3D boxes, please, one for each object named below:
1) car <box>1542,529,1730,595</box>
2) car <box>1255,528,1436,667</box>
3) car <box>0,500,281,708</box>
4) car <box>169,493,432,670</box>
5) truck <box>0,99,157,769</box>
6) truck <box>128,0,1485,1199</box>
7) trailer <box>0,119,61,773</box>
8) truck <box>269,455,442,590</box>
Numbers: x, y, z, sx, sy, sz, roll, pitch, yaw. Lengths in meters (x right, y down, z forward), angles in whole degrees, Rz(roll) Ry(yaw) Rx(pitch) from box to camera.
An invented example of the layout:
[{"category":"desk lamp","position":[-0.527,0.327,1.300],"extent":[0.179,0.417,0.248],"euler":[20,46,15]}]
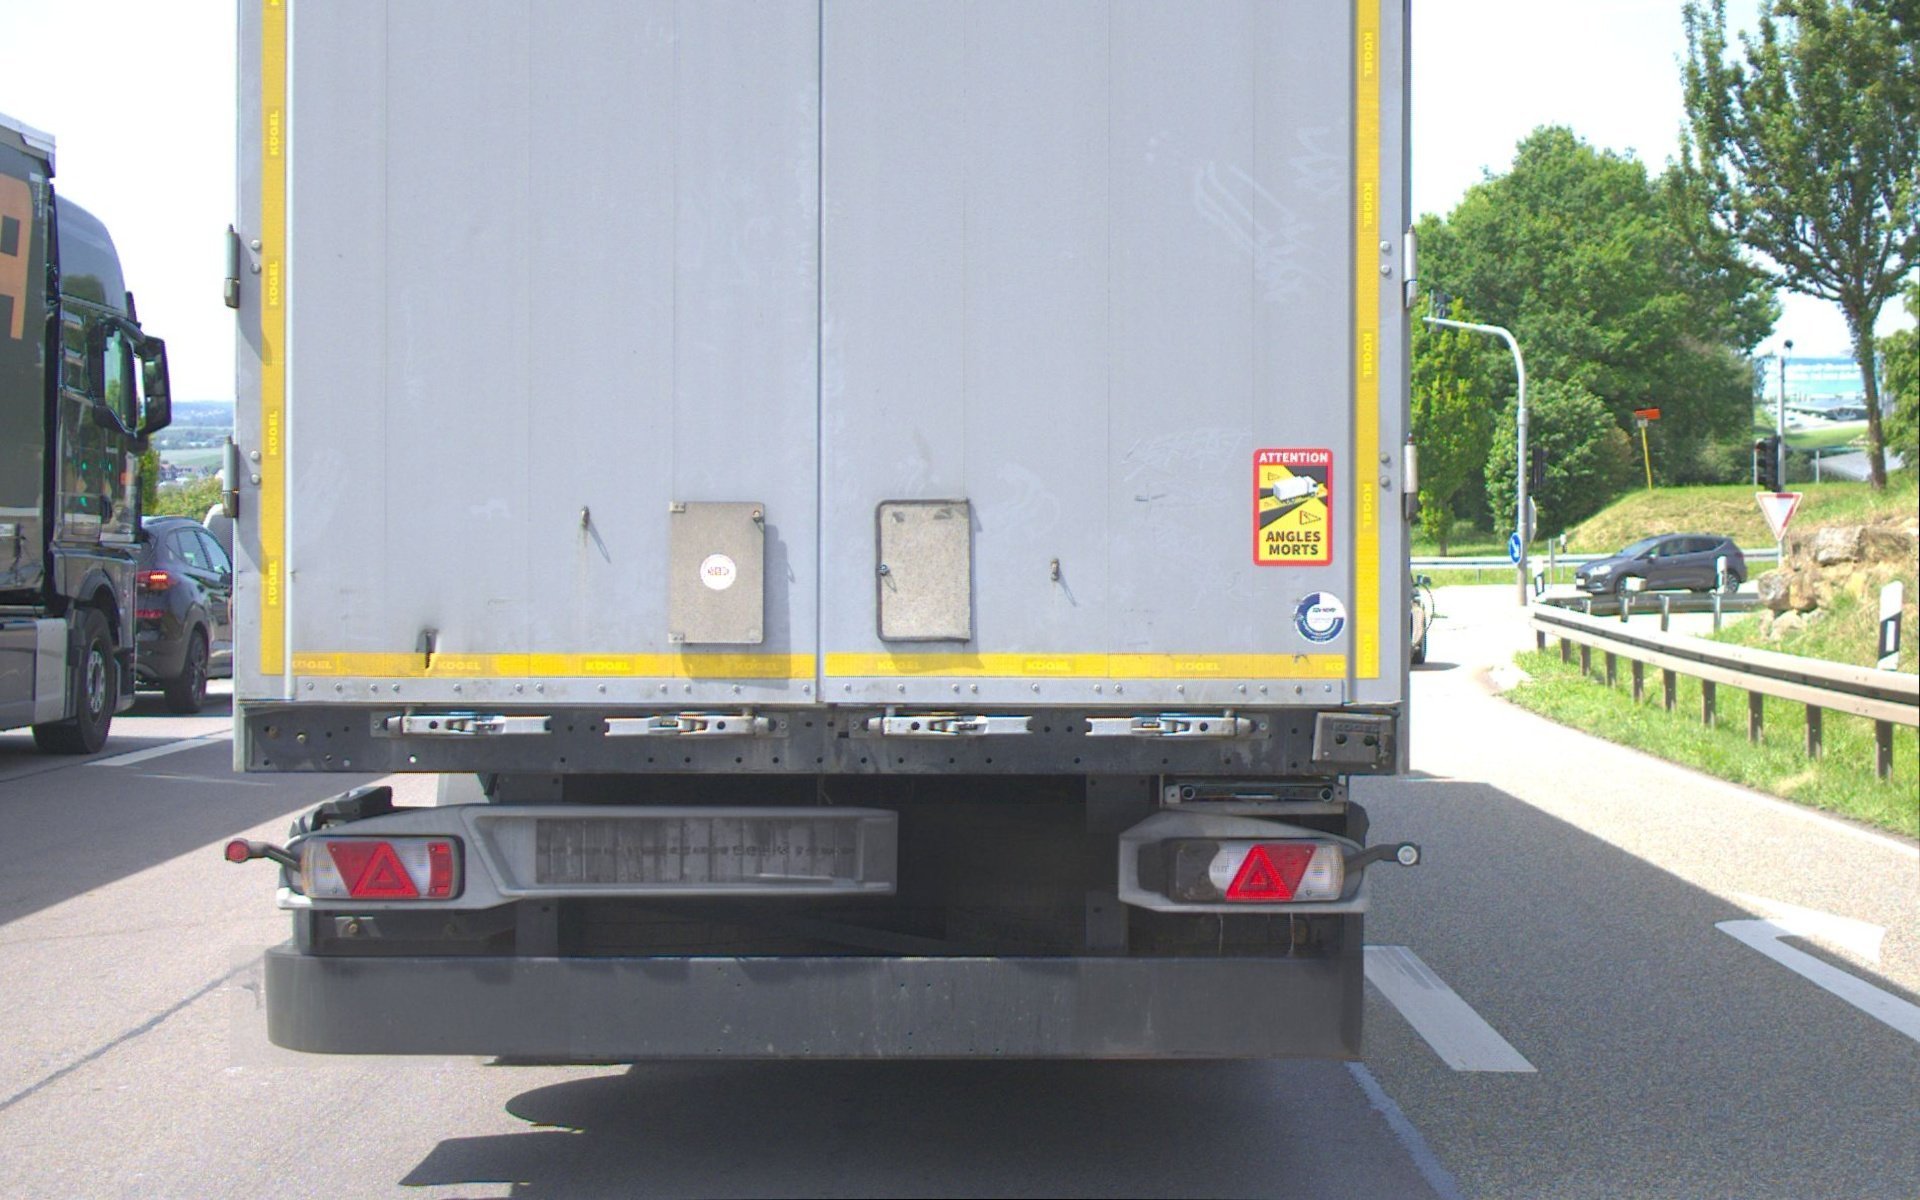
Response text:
[{"category":"car","position":[15.812,-0.897,80.471],"extent":[3.986,1.505,1.717],"euler":[0,1,-7]},{"category":"car","position":[4.852,-0.045,42.881],"extent":[1.797,1.634,3.998],"euler":[1,1,13]},{"category":"car","position":[-7.132,-0.011,29.749],"extent":[1.855,1.652,4.349],"euler":[1,1,-3]},{"category":"car","position":[-7.154,-0.237,37.751],"extent":[1.768,1.792,4.752],"euler":[1,1,3]},{"category":"truck","position":[-7.125,-1.018,21.443],"extent":[2.783,3.999,5.971],"euler":[1,1,0]},{"category":"truck","position":[-0.368,-0.675,12.850],"extent":[2.799,3.916,11.342],"euler":[1,1,-1]},{"category":"trailer","position":[-7.139,-0.837,14.945],"extent":[2.783,3.900,13.787],"euler":[1,1,0]},{"category":"truck","position":[-14.032,-1.768,80.223],"extent":[2.799,3.003,5.989],"euler":[0,0,2]}]
